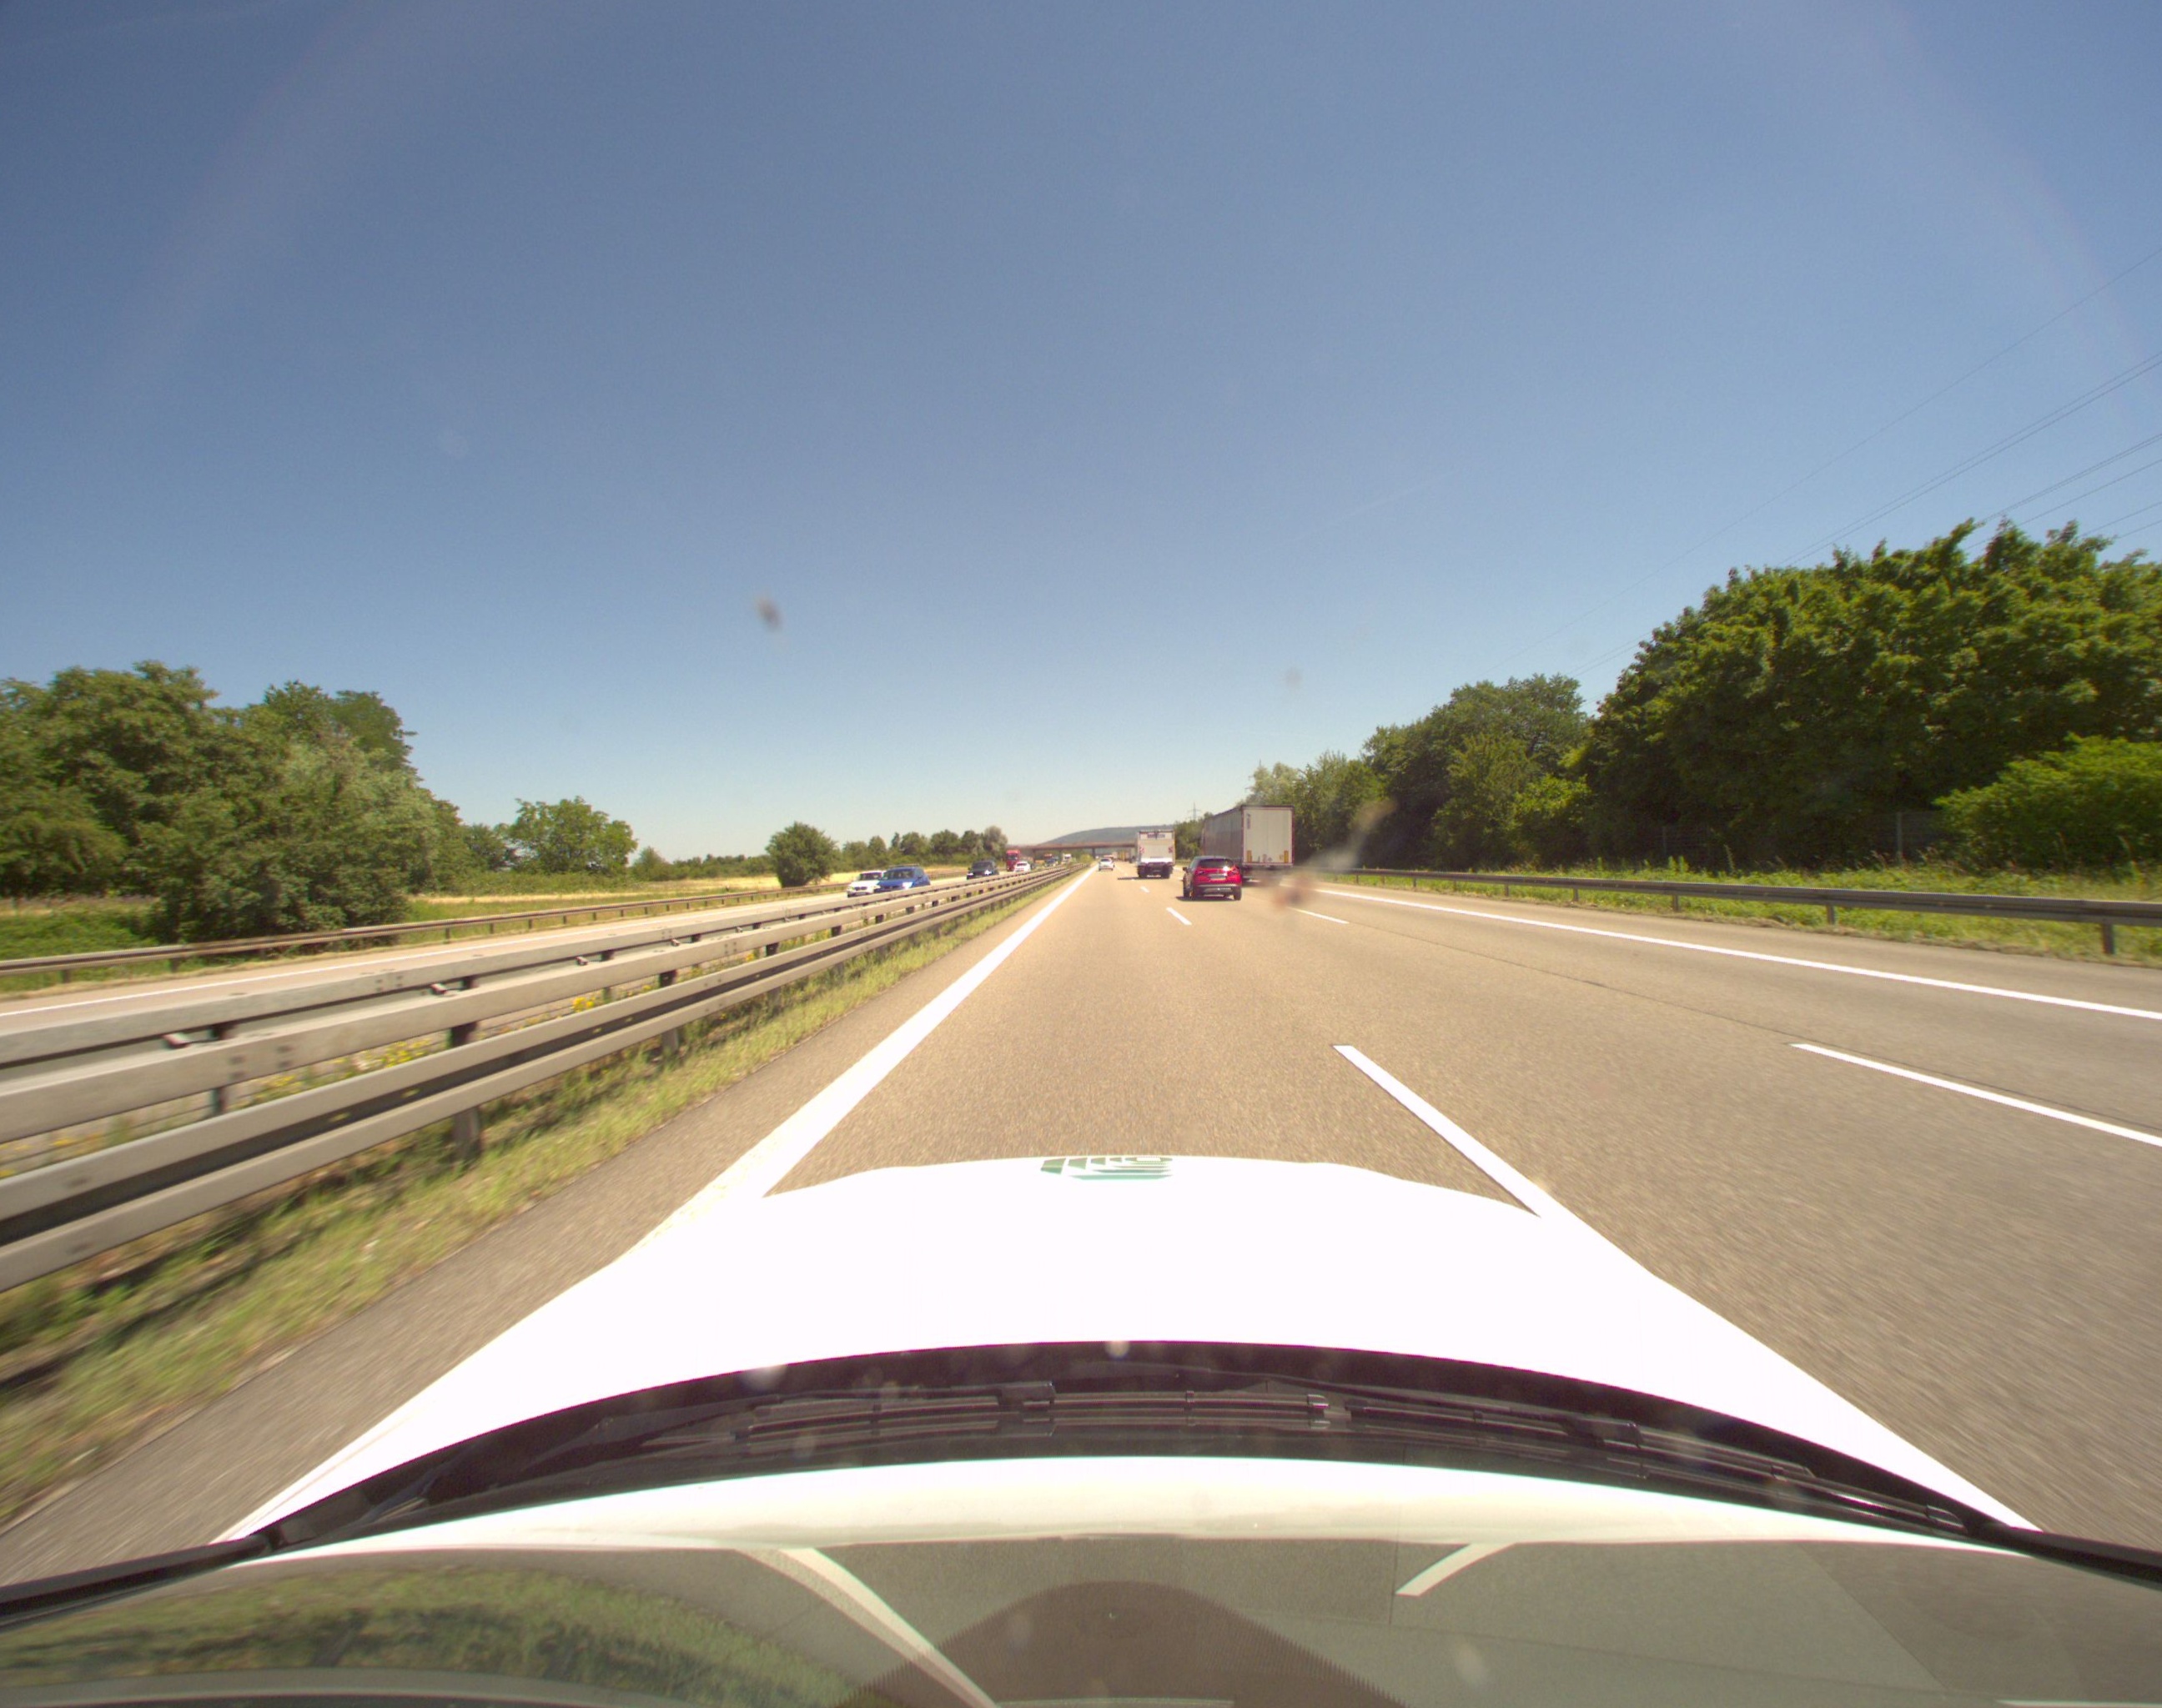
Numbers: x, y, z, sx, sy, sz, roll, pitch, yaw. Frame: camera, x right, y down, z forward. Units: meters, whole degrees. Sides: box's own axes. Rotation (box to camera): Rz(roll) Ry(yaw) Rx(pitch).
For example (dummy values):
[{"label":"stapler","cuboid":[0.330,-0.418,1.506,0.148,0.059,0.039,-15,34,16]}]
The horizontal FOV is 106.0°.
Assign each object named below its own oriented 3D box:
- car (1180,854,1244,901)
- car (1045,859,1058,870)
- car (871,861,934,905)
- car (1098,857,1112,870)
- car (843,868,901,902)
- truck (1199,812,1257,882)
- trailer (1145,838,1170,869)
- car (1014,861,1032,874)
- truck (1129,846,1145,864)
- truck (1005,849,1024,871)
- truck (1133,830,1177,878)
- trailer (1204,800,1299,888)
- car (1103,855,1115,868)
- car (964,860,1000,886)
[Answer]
[{"label":"car","cuboid":[4.718,0.813,29.769,1.796,1.545,4.002,-1,0,2]},{"label":"car","cuboid":[-4.991,1.759,138.936,1.802,1.647,3.962,-3,0,1]},{"label":"car","cuboid":[-7.982,1.271,36.808,1.761,1.750,3.987,-3,0,2]},{"label":"car","cuboid":[2.910,1.072,97.372,1.601,1.467,4.002,-2,0,2]},{"label":"car","cuboid":[-11.298,1.644,44.250,1.872,1.566,4.194,-3,0,2]},{"label":"truck","cuboid":[9.382,-0.411,52.506,2.785,4.164,5.724,-1,0,1]},{"label":"trailer","cuboid":[10.997,-0.093,117.978,2.784,4.164,13.962,-1,0,2]},{"label":"car","cuboid":[-7.166,1.656,101.233,1.802,1.536,3.962,-3,0,1]},{"label":"truck","cuboid":[14.388,0.252,209.832,3.507,4.416,14.597,-3,0,2]},{"label":"truck","cuboid":[-12.450,1.119,152.774,2.751,4.014,5.752,-4,0,1]},{"label":"truck","cuboid":[5.501,0.008,61.574,2.772,3.373,8.130,-1,0,2]},{"label":"trailer","cuboid":[9.226,-0.436,46.066,2.778,4.164,13.578,-1,0,1]},{"label":"car","cuboid":[4.463,1.195,129.836,1.754,1.850,4.002,-2,0,2]},{"label":"car","cuboid":[-7.340,1.358,60.972,1.952,1.772,4.444,-3,0,2]}]
